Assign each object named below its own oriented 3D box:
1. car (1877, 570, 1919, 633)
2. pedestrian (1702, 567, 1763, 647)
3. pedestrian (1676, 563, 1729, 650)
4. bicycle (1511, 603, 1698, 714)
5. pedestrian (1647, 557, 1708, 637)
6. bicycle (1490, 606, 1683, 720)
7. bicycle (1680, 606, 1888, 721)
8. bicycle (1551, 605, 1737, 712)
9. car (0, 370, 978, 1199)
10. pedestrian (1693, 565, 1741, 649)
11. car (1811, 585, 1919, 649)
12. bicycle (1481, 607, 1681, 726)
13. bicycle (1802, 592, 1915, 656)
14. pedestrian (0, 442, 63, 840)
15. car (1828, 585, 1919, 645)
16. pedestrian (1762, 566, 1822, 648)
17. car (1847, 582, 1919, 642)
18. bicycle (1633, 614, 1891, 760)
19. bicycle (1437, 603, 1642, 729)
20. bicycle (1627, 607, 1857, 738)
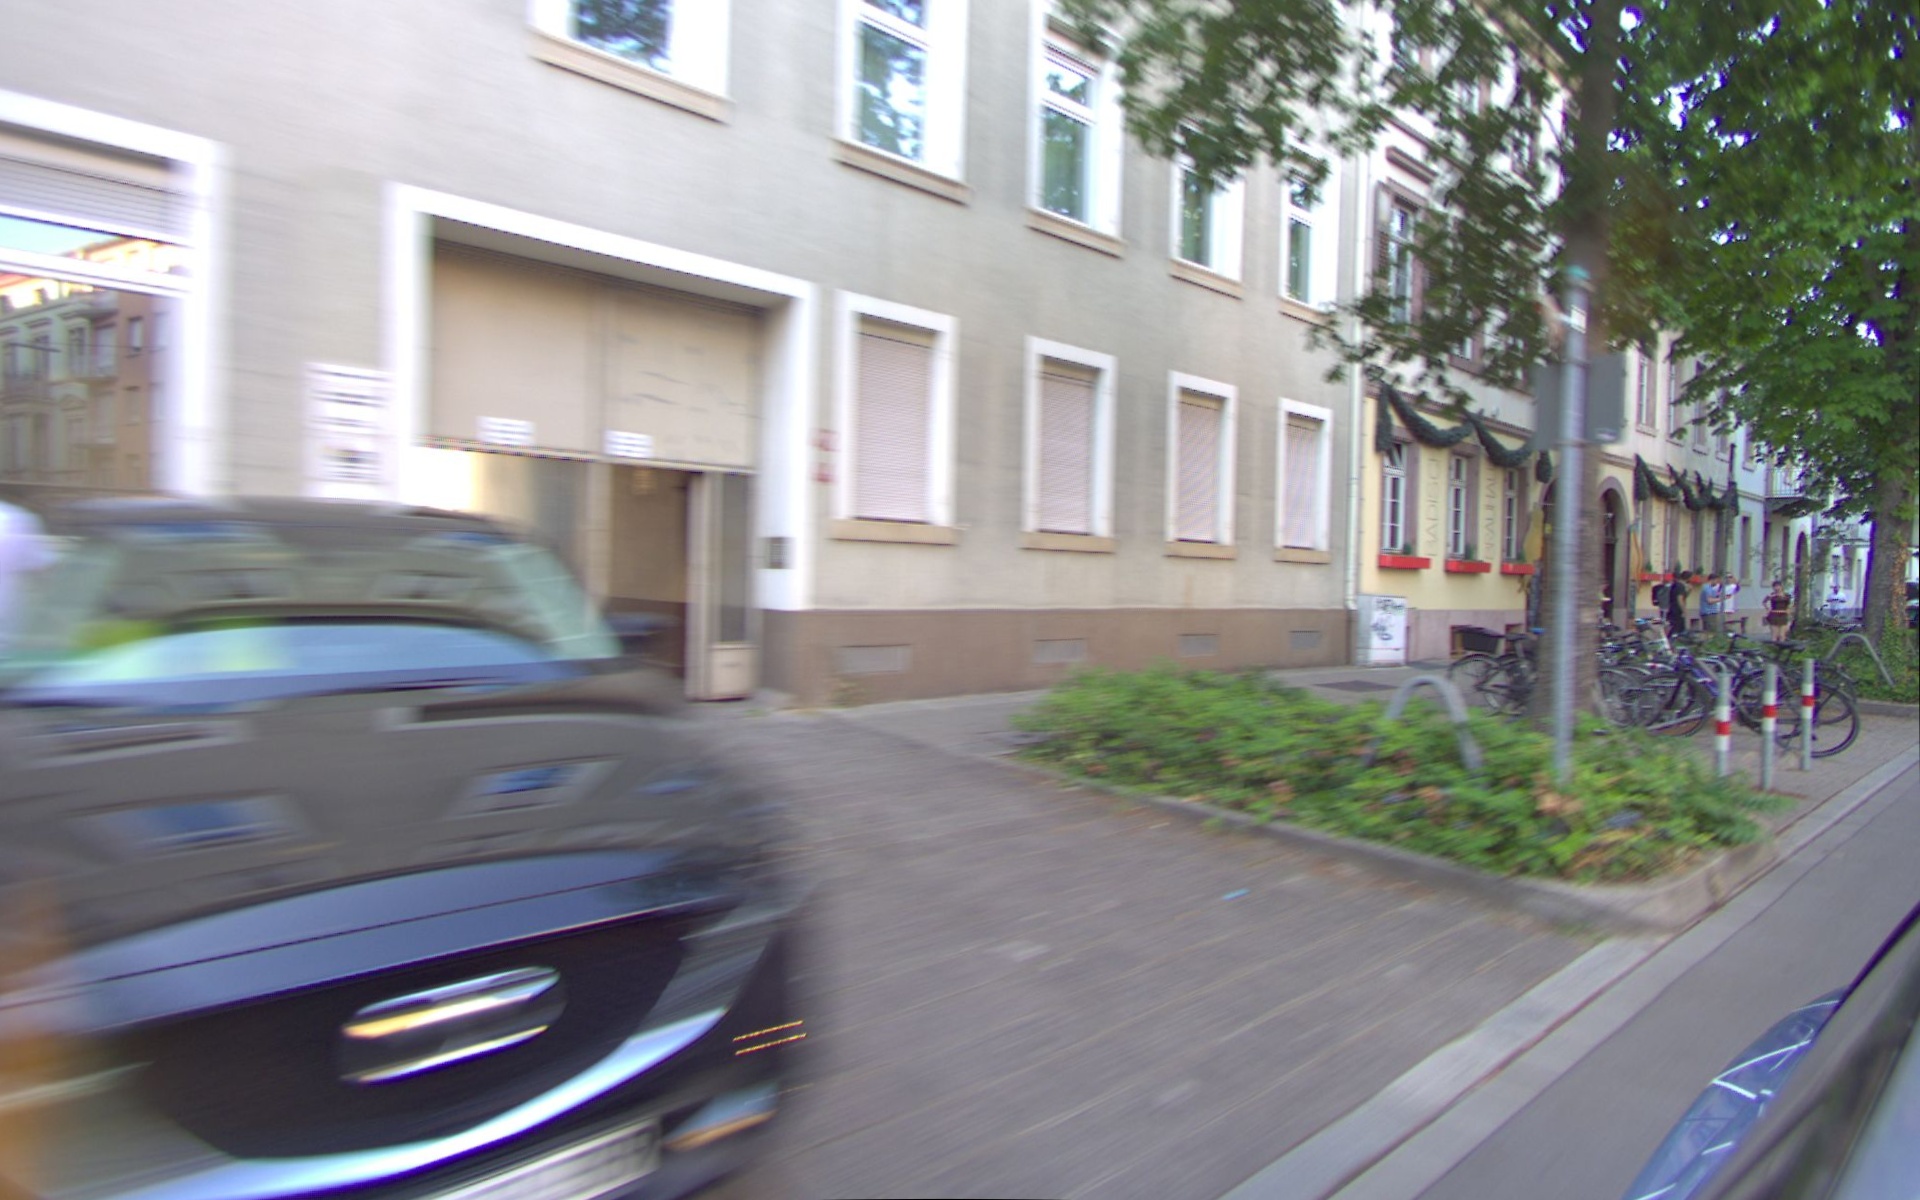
[{"bbox_3d":[33.959,0.193,33.741,2.001,2.035,4.702,0,5,-40],"label":"car"},{"bbox_3d":[17.526,0.149,22.964,0.732,1.760,0.716,2,2,-20],"label":"pedestrian"},{"bbox_3d":[15.667,0.120,21.375,0.774,1.760,0.676,4,2,34],"label":"pedestrian"},{"bbox_3d":[7.781,0.665,12.275,1.794,1.157,0.641,4,2,42],"label":"bicycle"},{"bbox_3d":[16.363,-0.067,23.097,0.729,1.760,0.729,3,2,-13],"label":"pedestrian"},{"bbox_3d":[7.189,0.685,11.679,0.492,1.121,1.796,0,3,-45],"label":"bicycle"},{"bbox_3d":[9.955,0.722,12.292,0.661,1.193,1.834,1,2,-40],"label":"bicycle"},{"bbox_3d":[8.513,0.684,12.649,0.653,1.142,1.795,0,3,-45],"label":"bicycle"},{"bbox_3d":[-2.070,0.474,3.342,1.865,1.676,4.438,0,2,-38],"label":"car"},{"bbox_3d":[16.372,0.151,21.898,0.612,1.760,0.616,2,2,-40],"label":"pedestrian"},{"bbox_3d":[24.658,0.511,25.668,1.853,1.410,4.411,0,5,-41],"label":"car"},{"bbox_3d":[6.865,0.691,11.268,0.492,1.121,1.796,0,3,-45],"label":"bicycle"},{"bbox_3d":[20.127,0.507,22.717,1.794,1.247,0.663,6,4,41],"label":"bicycle"},{"bbox_3d":[-4.589,0.176,4.491,0.683,1.758,0.670,2,2,19],"label":"pedestrian"},{"bbox_3d":[26.363,0.479,27.442,1.893,1.454,3.997,0,5,-41],"label":"car"},{"bbox_3d":[18.547,0.145,22.564,0.711,1.760,0.709,2,2,-28],"label":"pedestrian"},{"bbox_3d":[28.256,0.434,29.203,1.683,1.597,3.692,0,5,-39],"label":"car"},{"bbox_3d":[7.605,0.768,9.684,1.836,1.149,0.734,4,2,41],"label":"bicycle"},{"bbox_3d":[6.242,0.665,10.968,1.793,1.157,0.659,4,2,42],"label":"bicycle"},{"bbox_3d":[8.333,0.721,10.856,0.590,1.193,1.834,1,2,-40],"label":"bicycle"}]
